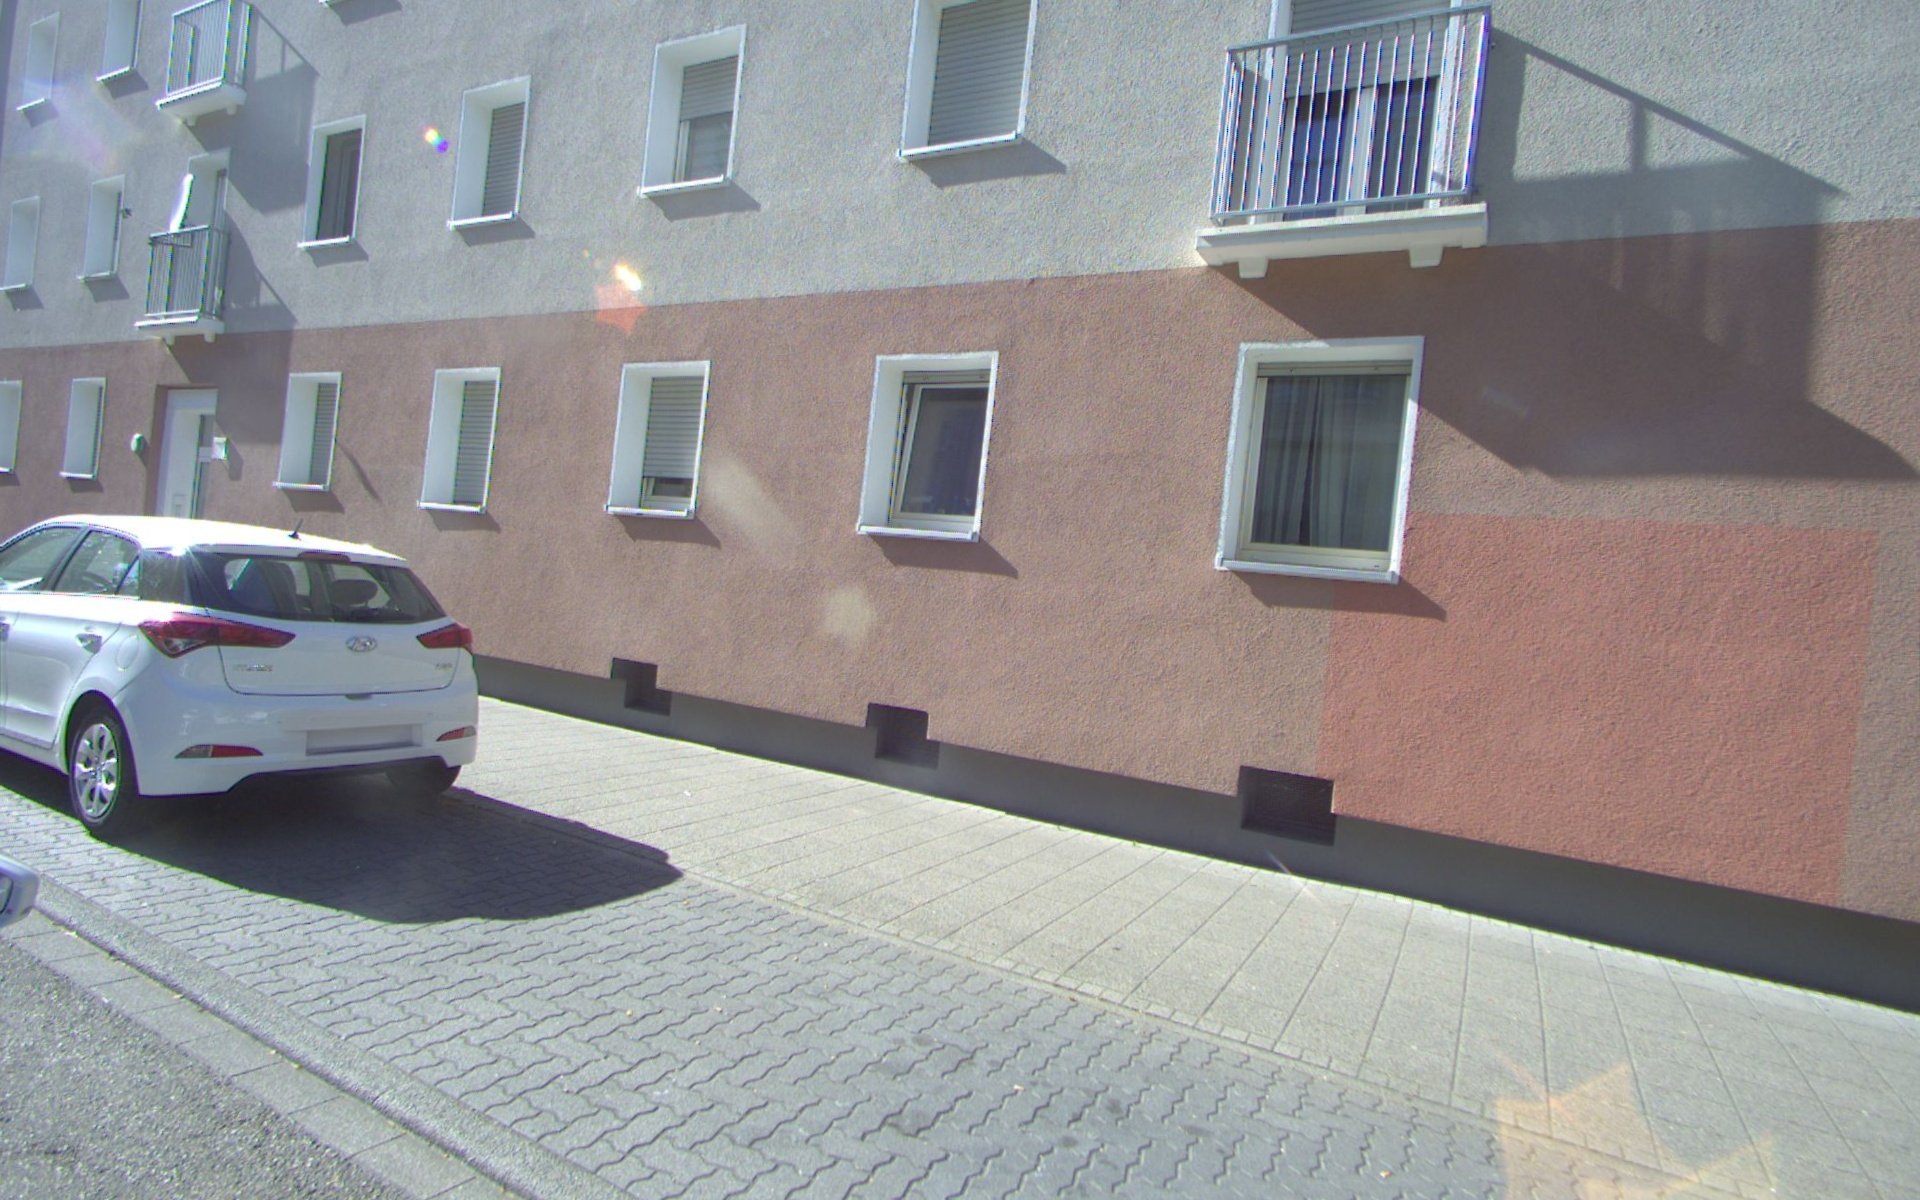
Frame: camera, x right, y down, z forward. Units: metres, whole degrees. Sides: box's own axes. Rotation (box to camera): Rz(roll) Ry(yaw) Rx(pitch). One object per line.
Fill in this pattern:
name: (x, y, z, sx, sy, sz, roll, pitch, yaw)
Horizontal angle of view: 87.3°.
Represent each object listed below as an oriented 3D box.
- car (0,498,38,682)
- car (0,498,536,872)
car: (-9.919, -0.304, 8.600, 4.441, 1.478, 1.787, 6, 1, 31)
car: (-4.533, 0.268, 5.897, 3.729, 1.505, 1.733, 6, 1, 28)
